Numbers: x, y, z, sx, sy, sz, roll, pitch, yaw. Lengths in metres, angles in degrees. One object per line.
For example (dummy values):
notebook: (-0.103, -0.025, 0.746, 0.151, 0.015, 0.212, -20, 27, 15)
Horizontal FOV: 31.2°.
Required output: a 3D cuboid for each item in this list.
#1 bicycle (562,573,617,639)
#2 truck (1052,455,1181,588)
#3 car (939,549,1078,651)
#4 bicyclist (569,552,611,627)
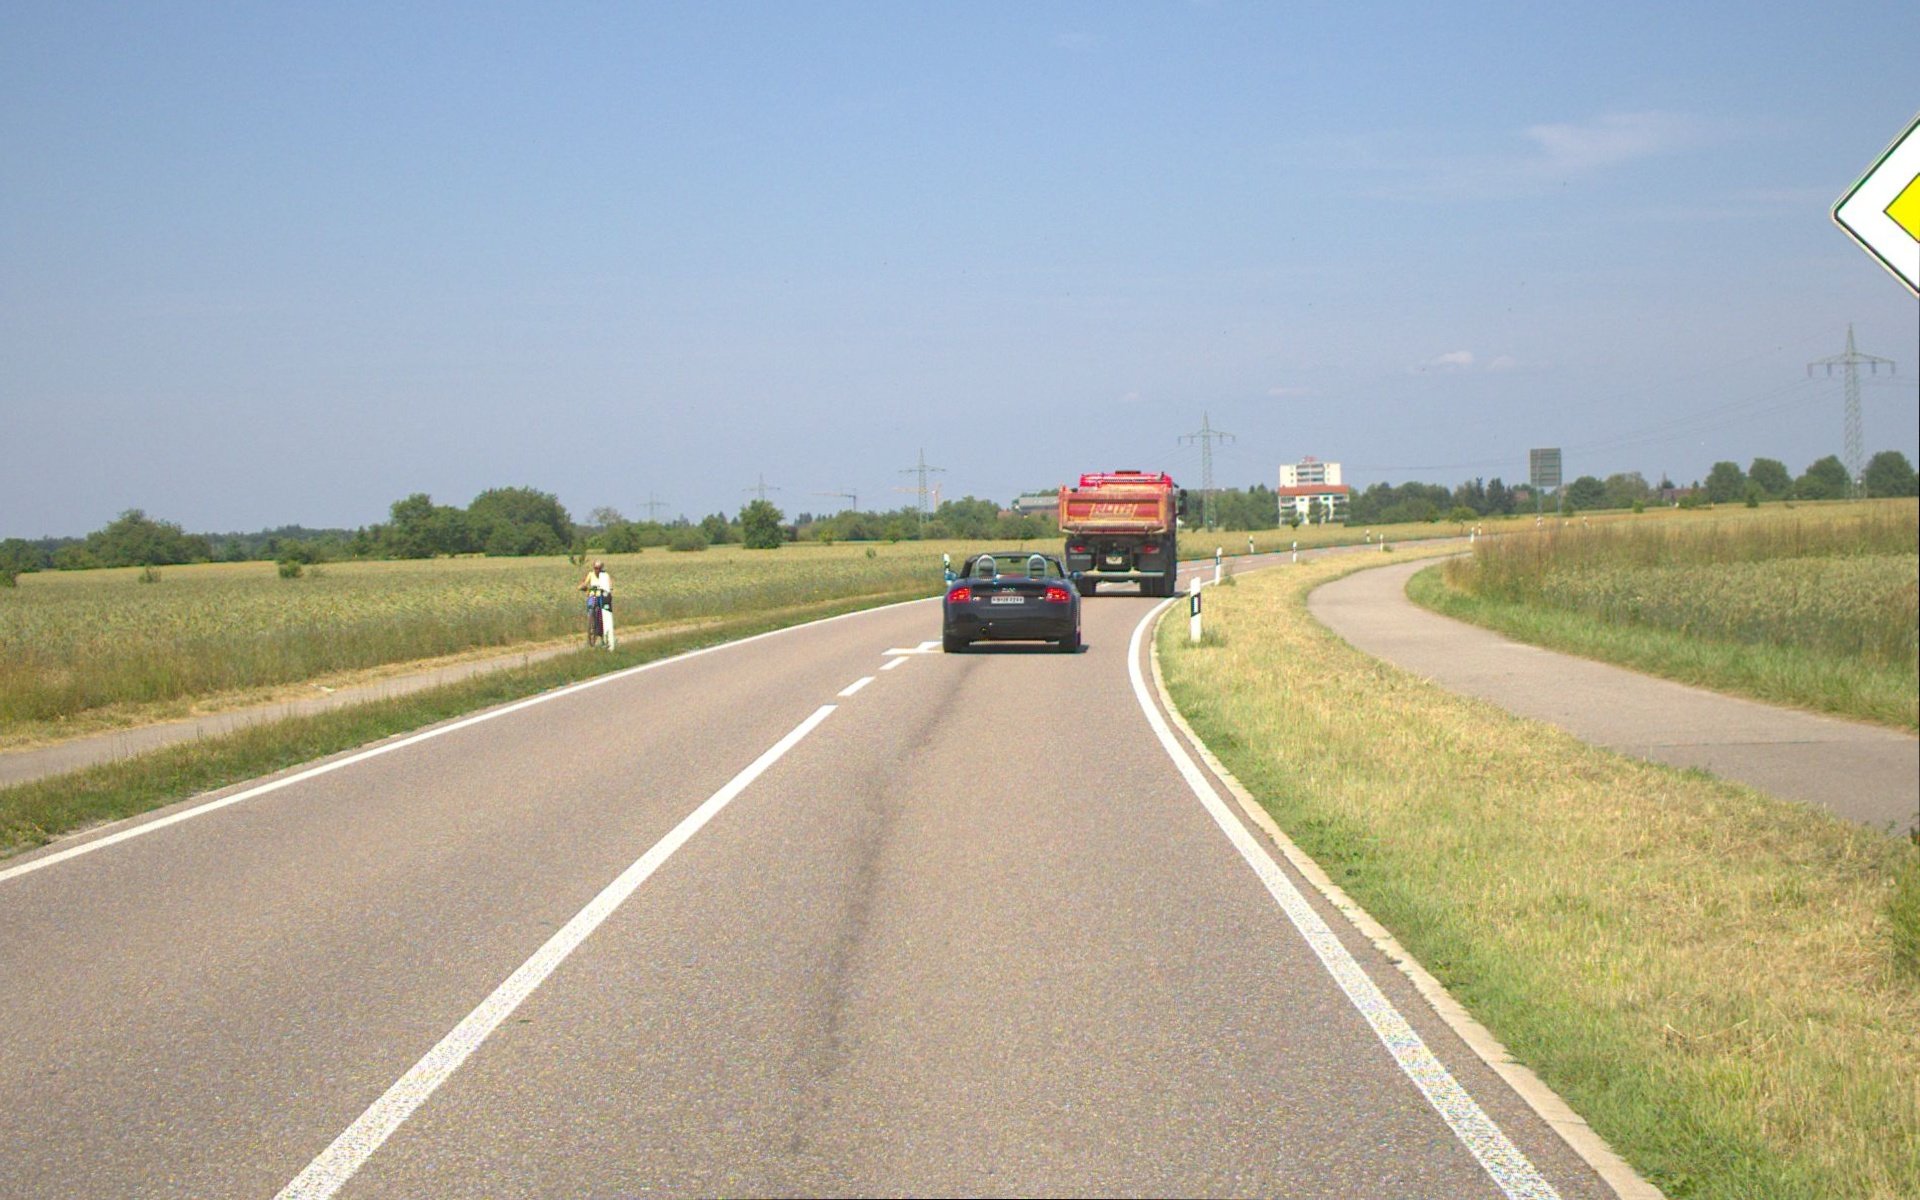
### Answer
bicycle: (-7.149, 0.109, 66.436, 0.694, 1.172, 1.963, -2, 2, 4)
truck: (3.893, -1.889, 84.077, 2.938, 3.078, 7.195, -1, 1, 4)
car: (0.655, -0.031, 45.473, 1.744, 1.275, 4.000, 0, 1, 1)
bicyclist: (-7.154, -0.214, 66.457, 0.664, 1.433, 0.823, -1, 1, 4)
